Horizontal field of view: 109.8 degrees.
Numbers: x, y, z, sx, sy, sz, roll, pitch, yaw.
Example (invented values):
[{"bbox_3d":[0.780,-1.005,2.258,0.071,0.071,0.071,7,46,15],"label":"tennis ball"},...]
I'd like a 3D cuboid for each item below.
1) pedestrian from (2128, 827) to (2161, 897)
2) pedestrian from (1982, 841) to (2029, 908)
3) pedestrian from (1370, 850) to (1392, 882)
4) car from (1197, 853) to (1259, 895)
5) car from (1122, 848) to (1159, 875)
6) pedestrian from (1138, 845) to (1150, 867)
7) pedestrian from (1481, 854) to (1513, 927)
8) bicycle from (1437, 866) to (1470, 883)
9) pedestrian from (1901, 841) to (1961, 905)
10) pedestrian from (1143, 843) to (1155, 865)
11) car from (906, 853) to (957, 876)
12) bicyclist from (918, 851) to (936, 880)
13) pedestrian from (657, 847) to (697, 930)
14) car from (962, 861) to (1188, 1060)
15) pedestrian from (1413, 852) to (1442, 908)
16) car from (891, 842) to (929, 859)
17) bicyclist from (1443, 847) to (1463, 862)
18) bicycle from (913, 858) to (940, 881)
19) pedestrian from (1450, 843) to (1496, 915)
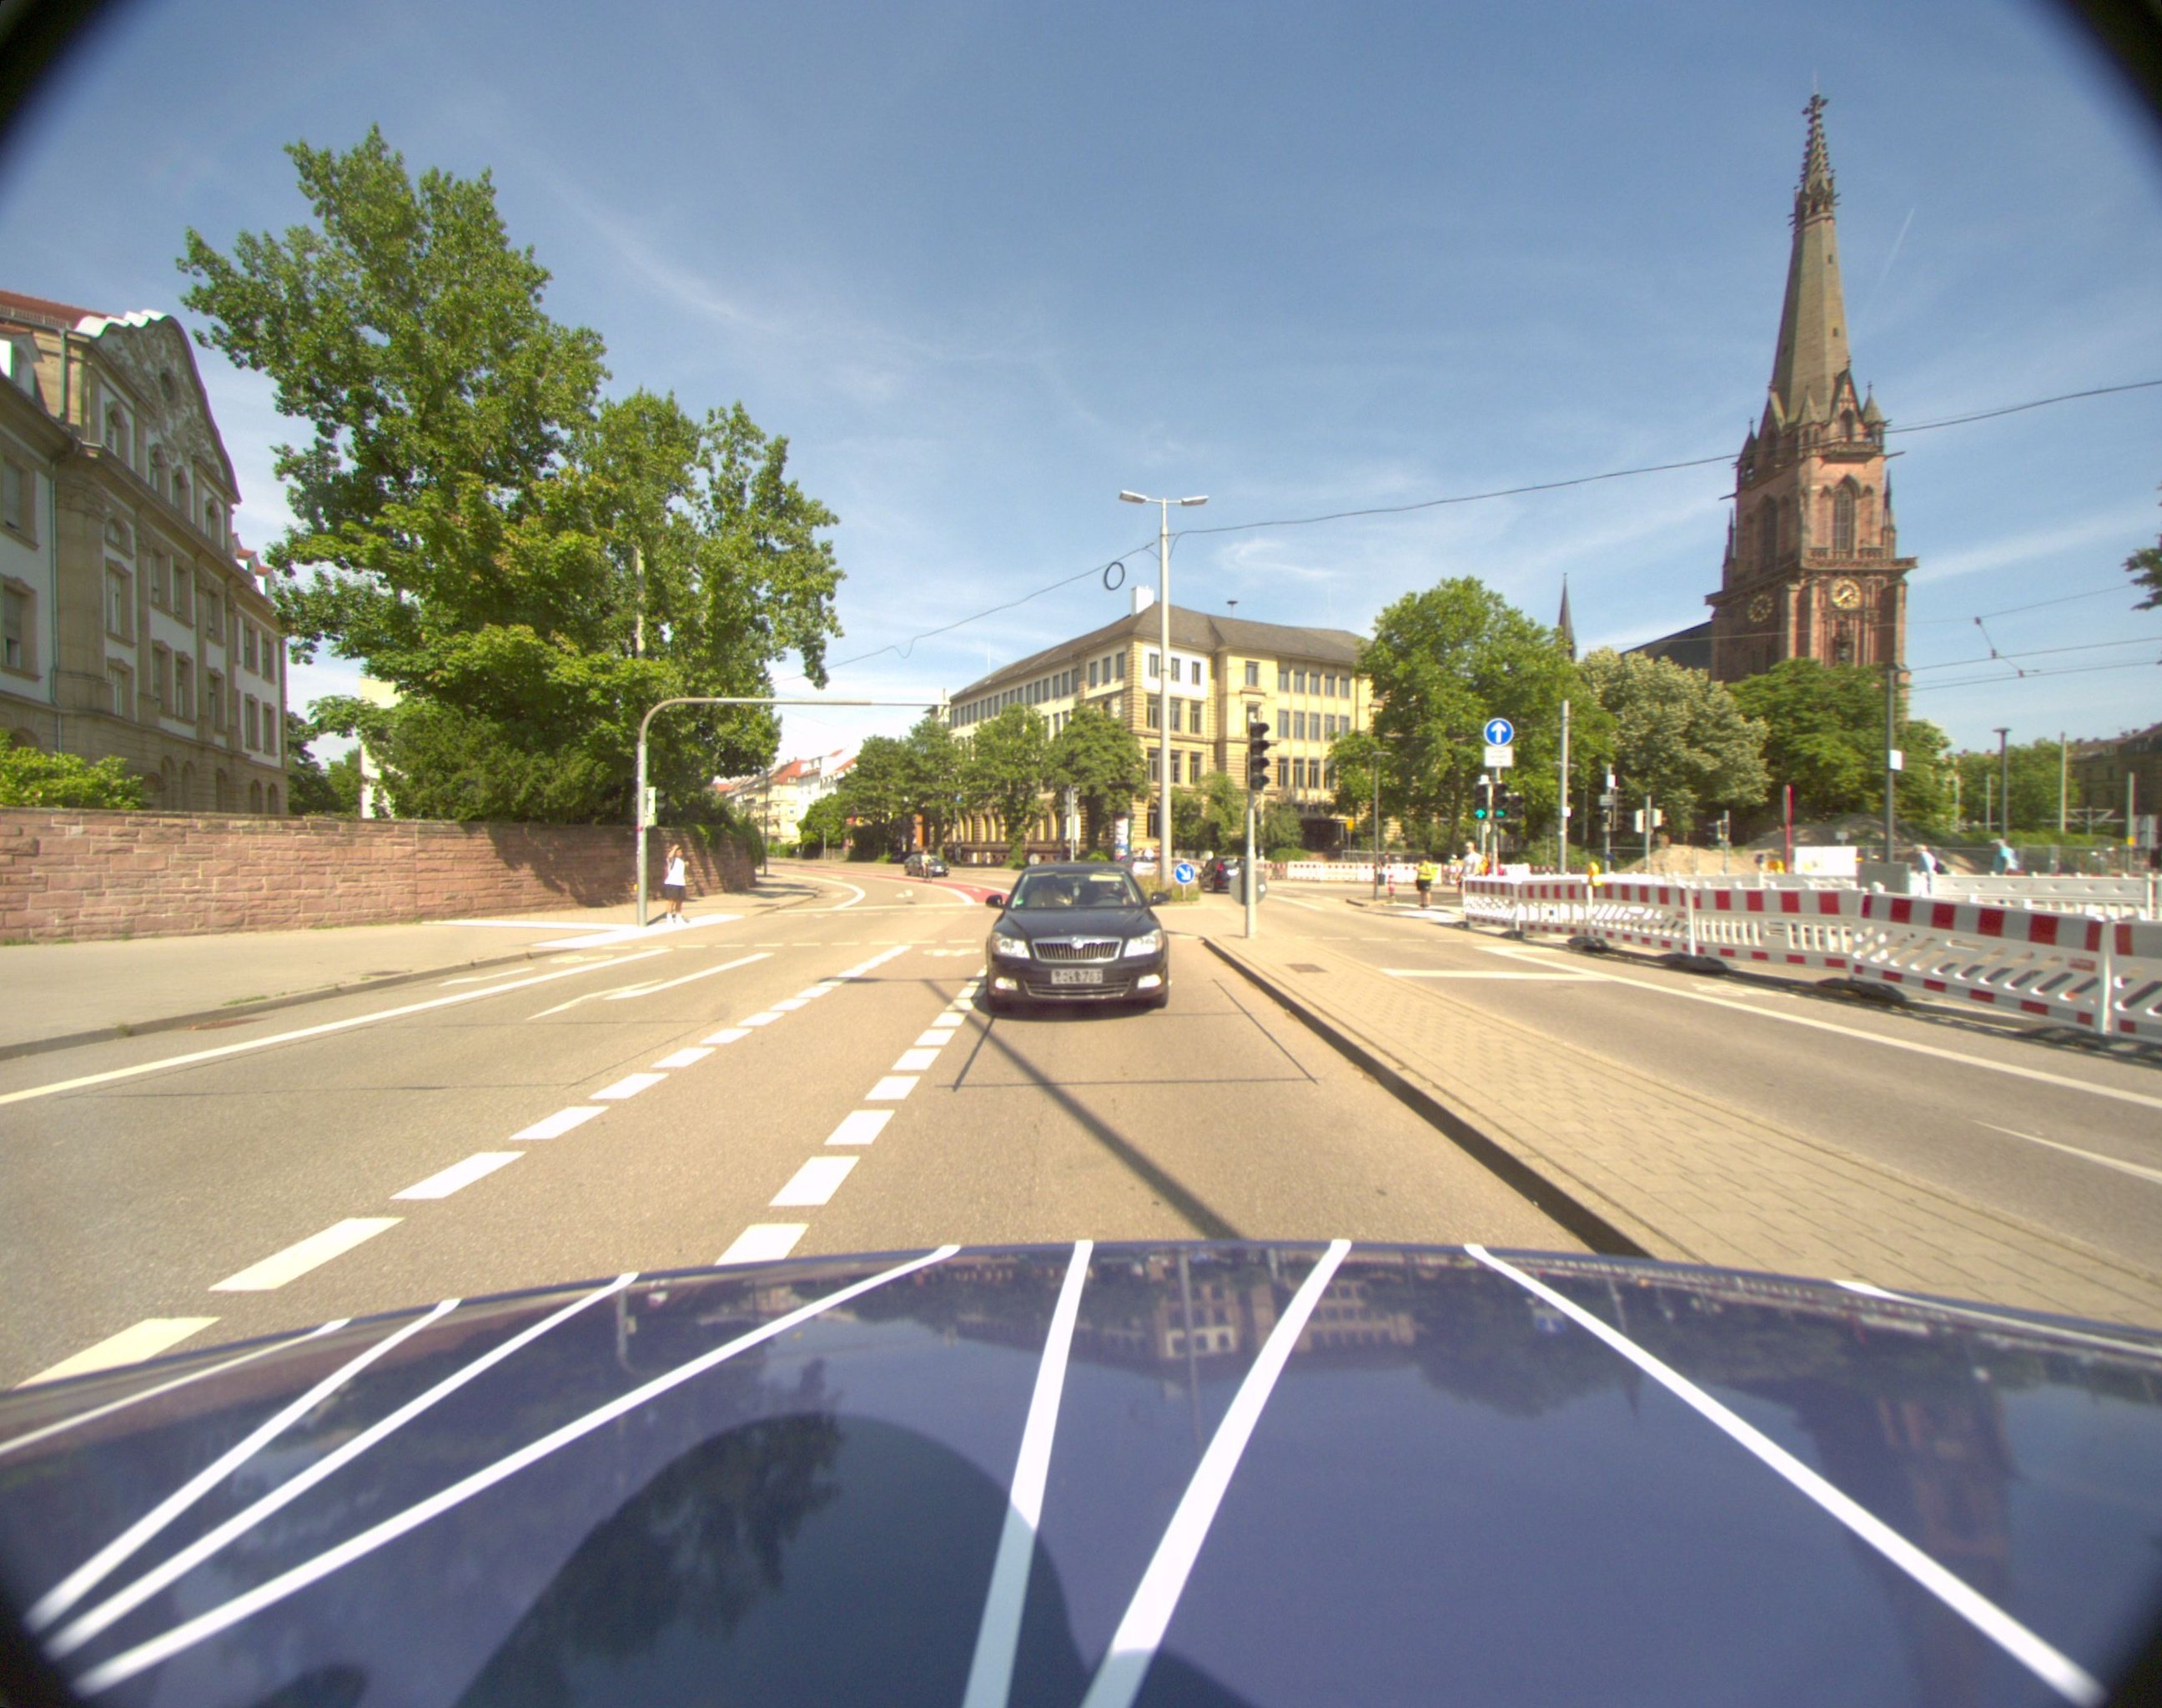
[{"bbox_3d":[26.550,0.193,18.625,0.933,1.703,0.559,0,1,44],"label":"pedestrian"},{"bbox_3d":[22.591,0.481,18.583,0.584,1.606,0.691,0,1,37],"label":"pedestrian"},{"bbox_3d":[15.689,0.632,39.753,0.939,1.646,0.845,0,1,9],"label":"pedestrian"},{"bbox_3d":[5.581,0.714,29.276,1.670,1.442,3.818,2,1,1],"label":"car"},{"bbox_3d":[3.316,0.412,42.866,1.798,1.403,4.000,2,1,1],"label":"car"},{"bbox_3d":[4.921,0.169,59.439,0.743,1.740,0.586,1,1,33],"label":"pedestrian"},{"bbox_3d":[9.451,0.812,17.279,0.350,1.606,0.686,0,1,2],"label":"pedestrian"},{"bbox_3d":[22.727,1.238,46.332,0.703,0.941,1.661,-1,1,-39],"label":"bicycle"},{"bbox_3d":[21.627,0.475,19.341,0.792,1.606,0.663,0,1,20],"label":"pedestrian"},{"bbox_3d":[5.385,-0.014,60.084,0.743,1.740,0.586,1,1,33],"label":"pedestrian"},{"bbox_3d":[-9.644,0.622,48.798,1.806,1.368,4.266,-2,1,-32],"label":"car"},{"bbox_3d":[-8.342,0.605,41.203,0.589,1.539,0.929,-3,2,-31],"label":"bicyclist"},{"bbox_3d":[-9.326,0.776,17.574,0.654,1.863,0.795,2,1,-18],"label":"pedestrian"},{"bbox_3d":[0.006,0.905,8.707,1.864,1.510,4.827,0,1,1],"label":"car"},{"bbox_3d":[9.826,0.740,21.573,0.666,1.534,0.424,-3,1,21],"label":"pedestrian"},{"bbox_3d":[-20.577,-0.405,91.625,4.008,2.002,1.994,0,1,-35],"label":"car"},{"bbox_3d":[22.680,0.041,46.363,0.684,0.922,0.867,-1,1,-39],"label":"bicyclist"},{"bbox_3d":[-8.435,0.829,41.356,0.687,1.215,2.181,0,1,-32],"label":"bicycle"},{"bbox_3d":[10.036,0.615,19.475,0.651,1.802,0.839,-1,1,-36],"label":"pedestrian"}]
